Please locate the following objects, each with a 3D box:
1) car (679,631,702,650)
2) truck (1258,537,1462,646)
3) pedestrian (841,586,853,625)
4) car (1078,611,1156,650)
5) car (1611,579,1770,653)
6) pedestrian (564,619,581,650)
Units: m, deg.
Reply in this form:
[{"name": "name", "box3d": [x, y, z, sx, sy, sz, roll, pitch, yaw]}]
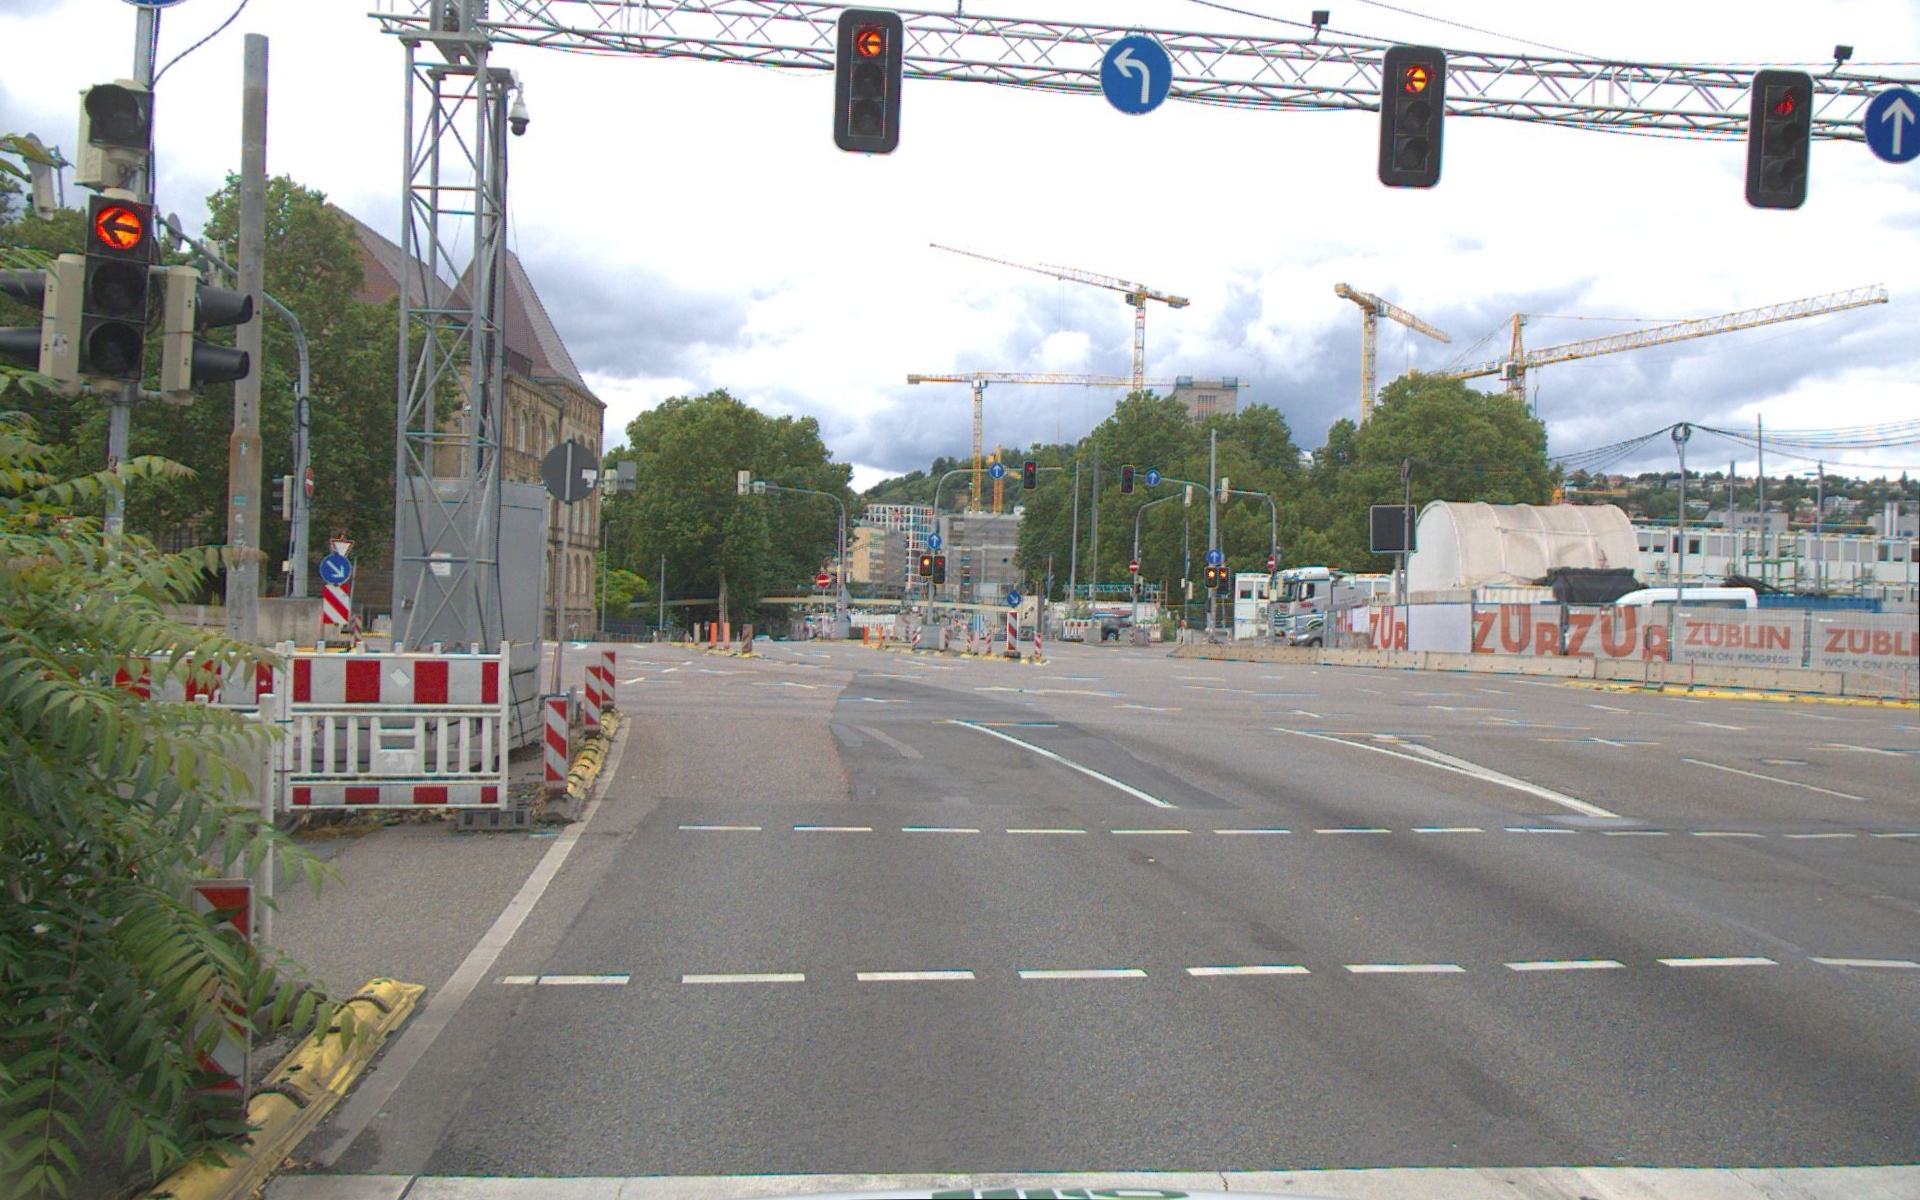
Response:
[{"name": "car", "box3d": [-27.922, 4.190, 171.492, 1.954, 1.870, 3.997, 1, 0, -3]}, {"name": "truck", "box3d": [19.654, -0.367, 81.294, 9.565, 5.047, 3.097, 1, 0, -19]}, {"name": "pedestrian", "box3d": [-5.507, 0.271, 80.773, 0.574, 1.872, 0.604, 1, -1, -4]}, {"name": "car", "box3d": [8.832, 1.705, 92.813, 3.908, 2.049, 1.998, 1, 0, 25]}, {"name": "car", "box3d": [21.055, 0.447, 47.823, 3.902, 2.049, 2.001, 1, 0, 15]}, {"name": "pedestrian", "box3d": [-26.364, 2.354, 112.486, 0.930, 2.049, 0.766, 1, -1, 1]}]
